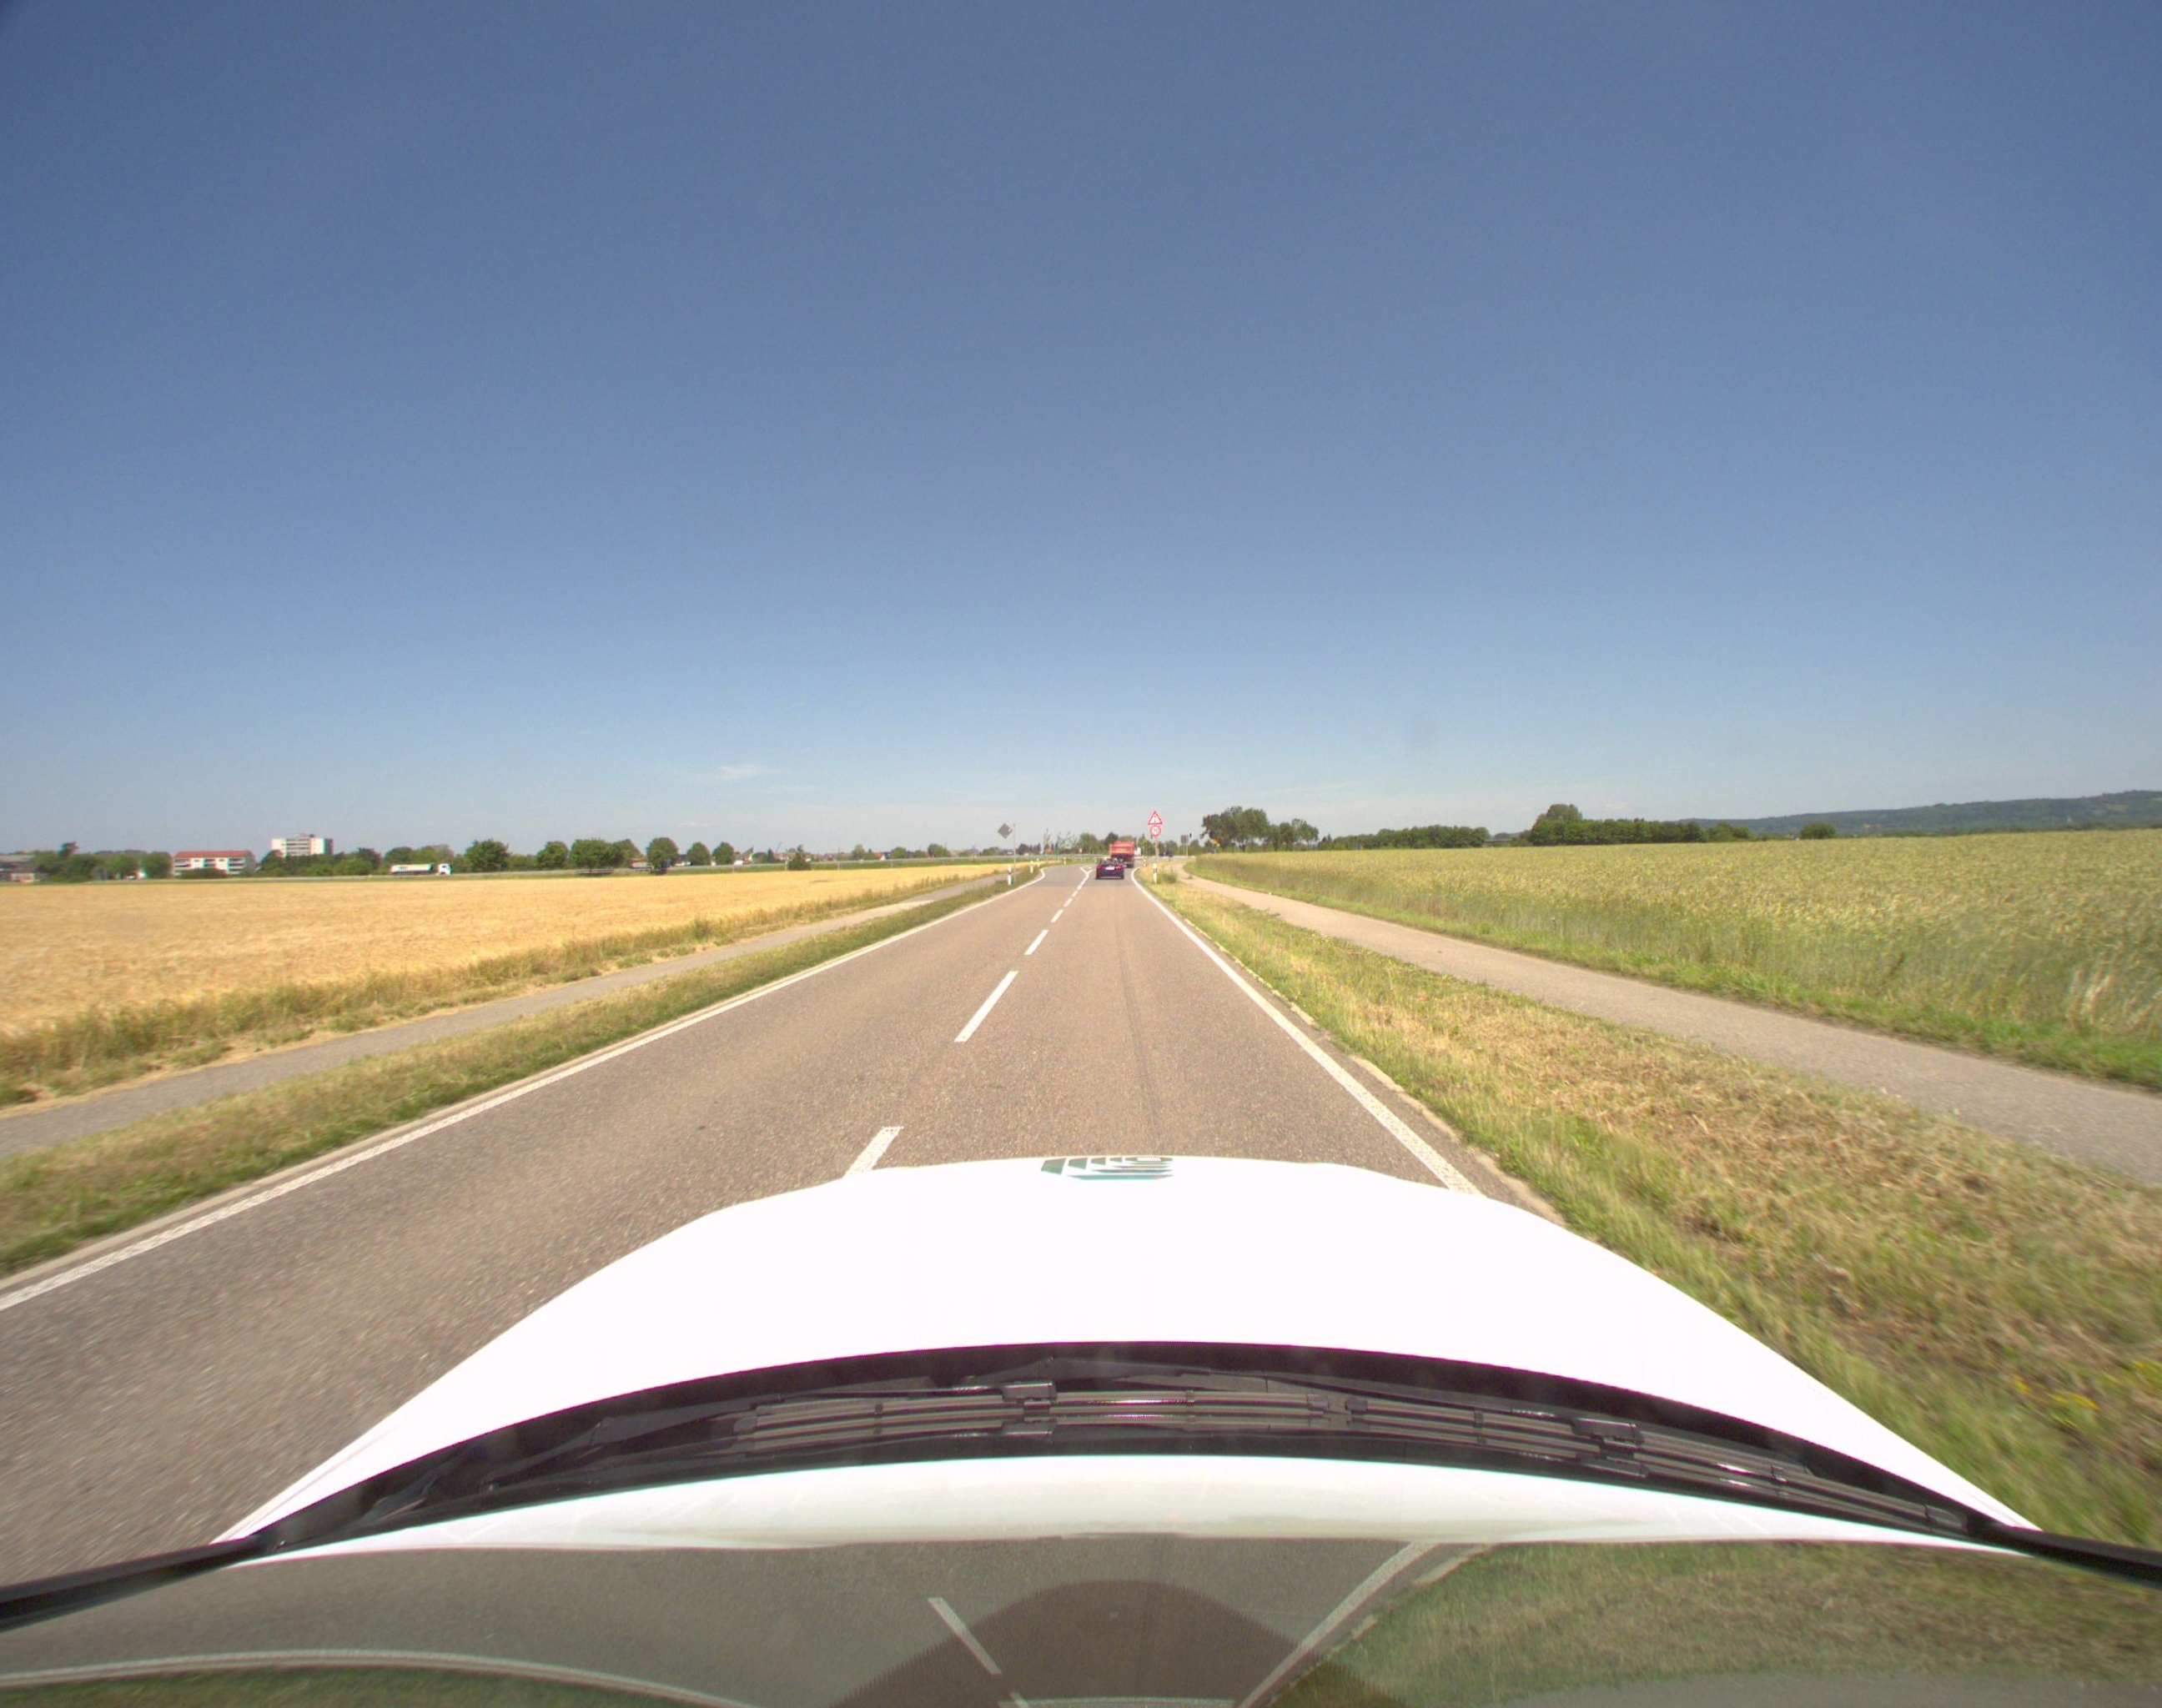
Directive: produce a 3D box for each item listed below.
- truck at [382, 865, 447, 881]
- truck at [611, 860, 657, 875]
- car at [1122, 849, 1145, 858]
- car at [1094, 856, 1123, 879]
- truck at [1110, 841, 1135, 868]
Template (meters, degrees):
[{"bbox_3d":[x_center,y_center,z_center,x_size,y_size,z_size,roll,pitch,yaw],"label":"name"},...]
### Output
[{"bbox_3d":[-164.385,4.715,201.006,12.055,3.614,2.956,-1,0,-27],"label":"truck"},{"bbox_3d":[-118.171,3.517,215.435,10.105,3.793,2.610,-1,0,-18],"label":"truck"},{"bbox_3d":[14.210,-0.024,220.504,5.882,2.421,2.253,0,0,9],"label":"car"},{"bbox_3d":[1.749,0.824,51.242,1.741,1.376,3.680,1,-1,1],"label":"car"},{"bbox_3d":[4.856,0.113,93.873,2.702,3.053,8.172,0,-1,4],"label":"truck"}]
